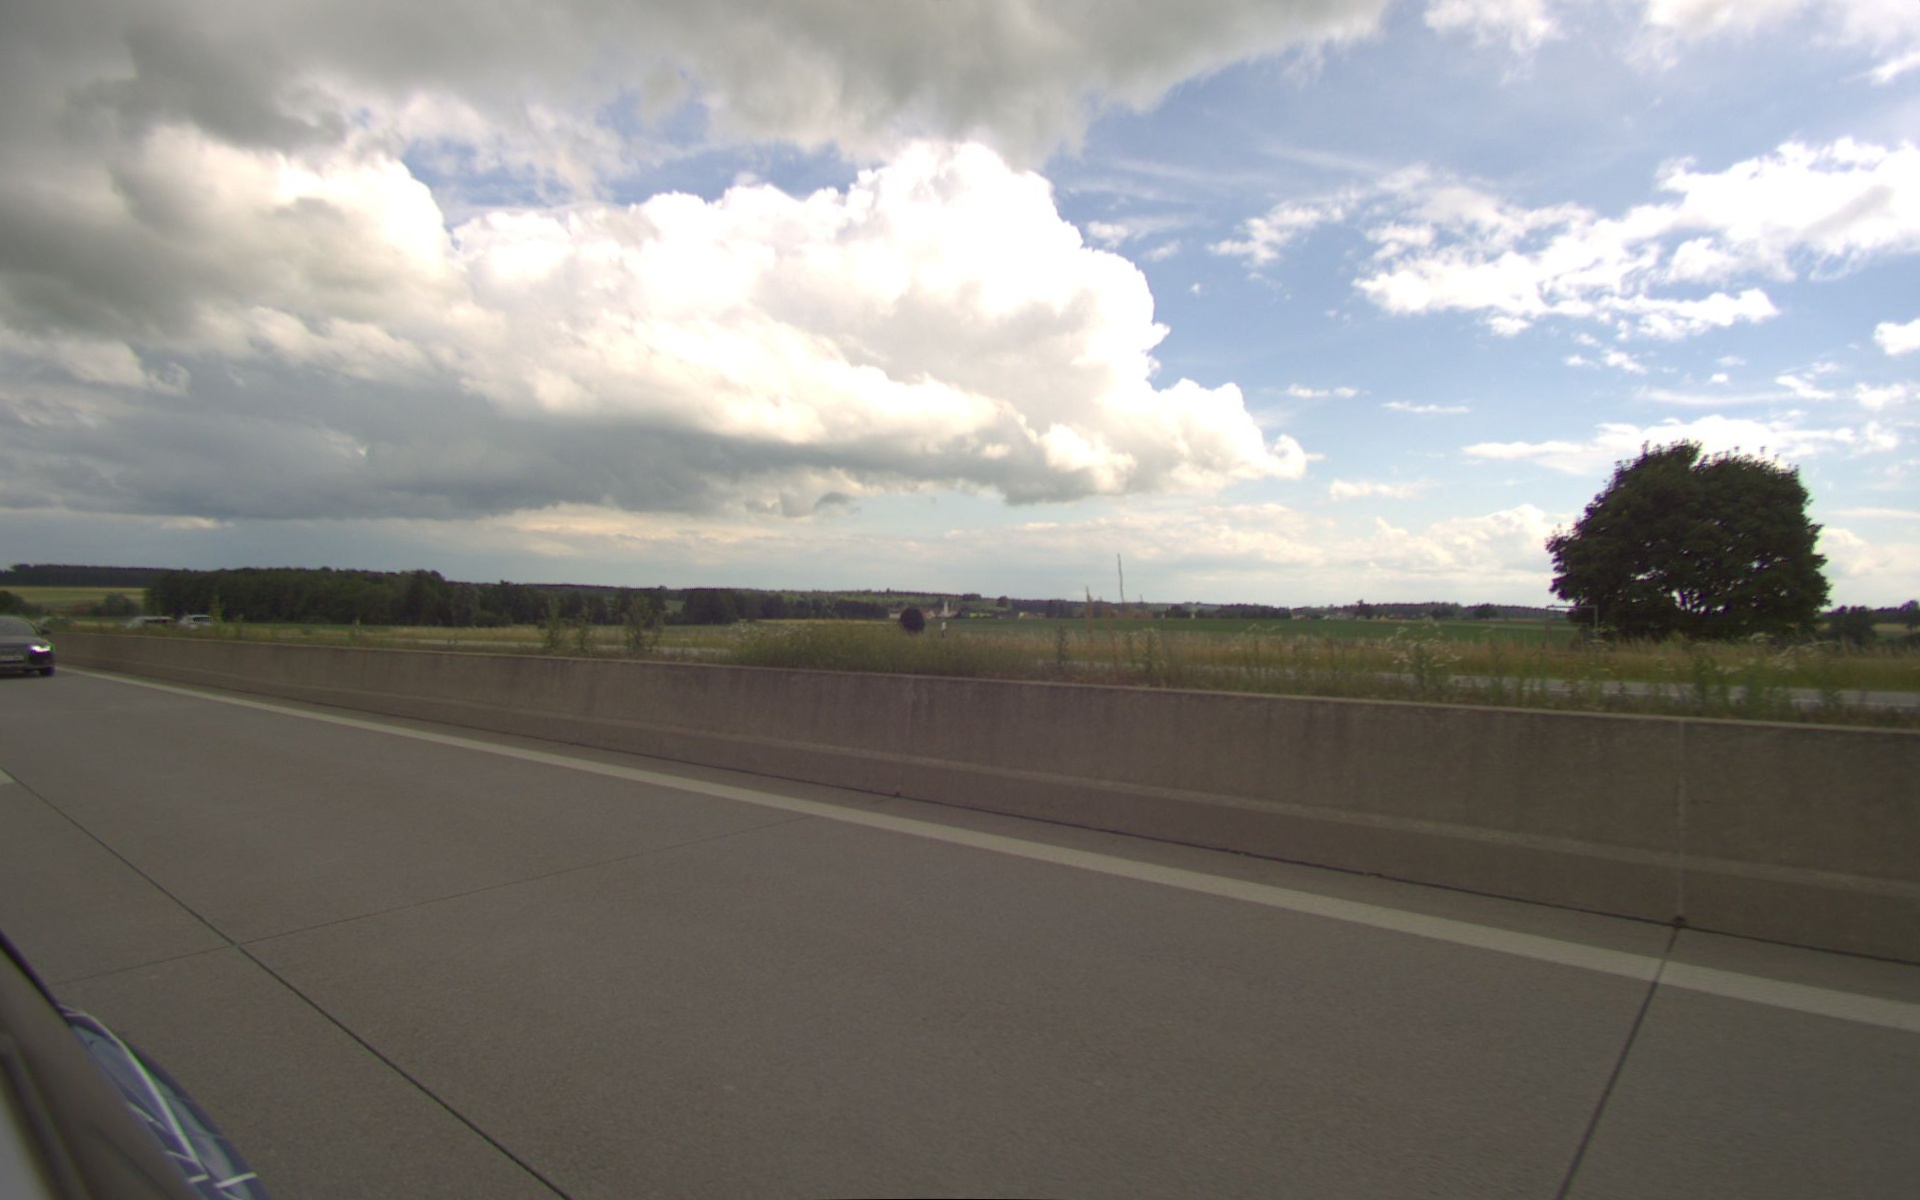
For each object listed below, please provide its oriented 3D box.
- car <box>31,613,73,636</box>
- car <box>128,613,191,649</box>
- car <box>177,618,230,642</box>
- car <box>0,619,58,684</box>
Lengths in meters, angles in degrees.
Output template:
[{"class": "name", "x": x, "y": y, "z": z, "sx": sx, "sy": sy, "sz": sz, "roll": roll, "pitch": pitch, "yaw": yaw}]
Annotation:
[{"class": "car", "x": -72.234, "y": 1.914, "z": 80.490, "sx": 4.672, "sy": 1.706, "sz": 1.882, "roll": 0, "pitch": 0, "yaw": 40}, {"class": "car", "x": -37.895, "y": 1.443, "z": 47.888, "sx": 3.767, "sy": 1.567, "sz": 1.695, "roll": 0, "pitch": 0, "yaw": 41}, {"class": "car", "x": -51.167, "y": 1.992, "z": 68.414, "sx": 4.846, "sy": 1.481, "sz": 1.878, "roll": 0, "pitch": 0, "yaw": 40}, {"class": "car", "x": -23.499, "y": 1.226, "z": 24.616, "sx": 3.999, "sy": 1.484, "sz": 1.914, "roll": -1, "pitch": -1, "yaw": 42}]
